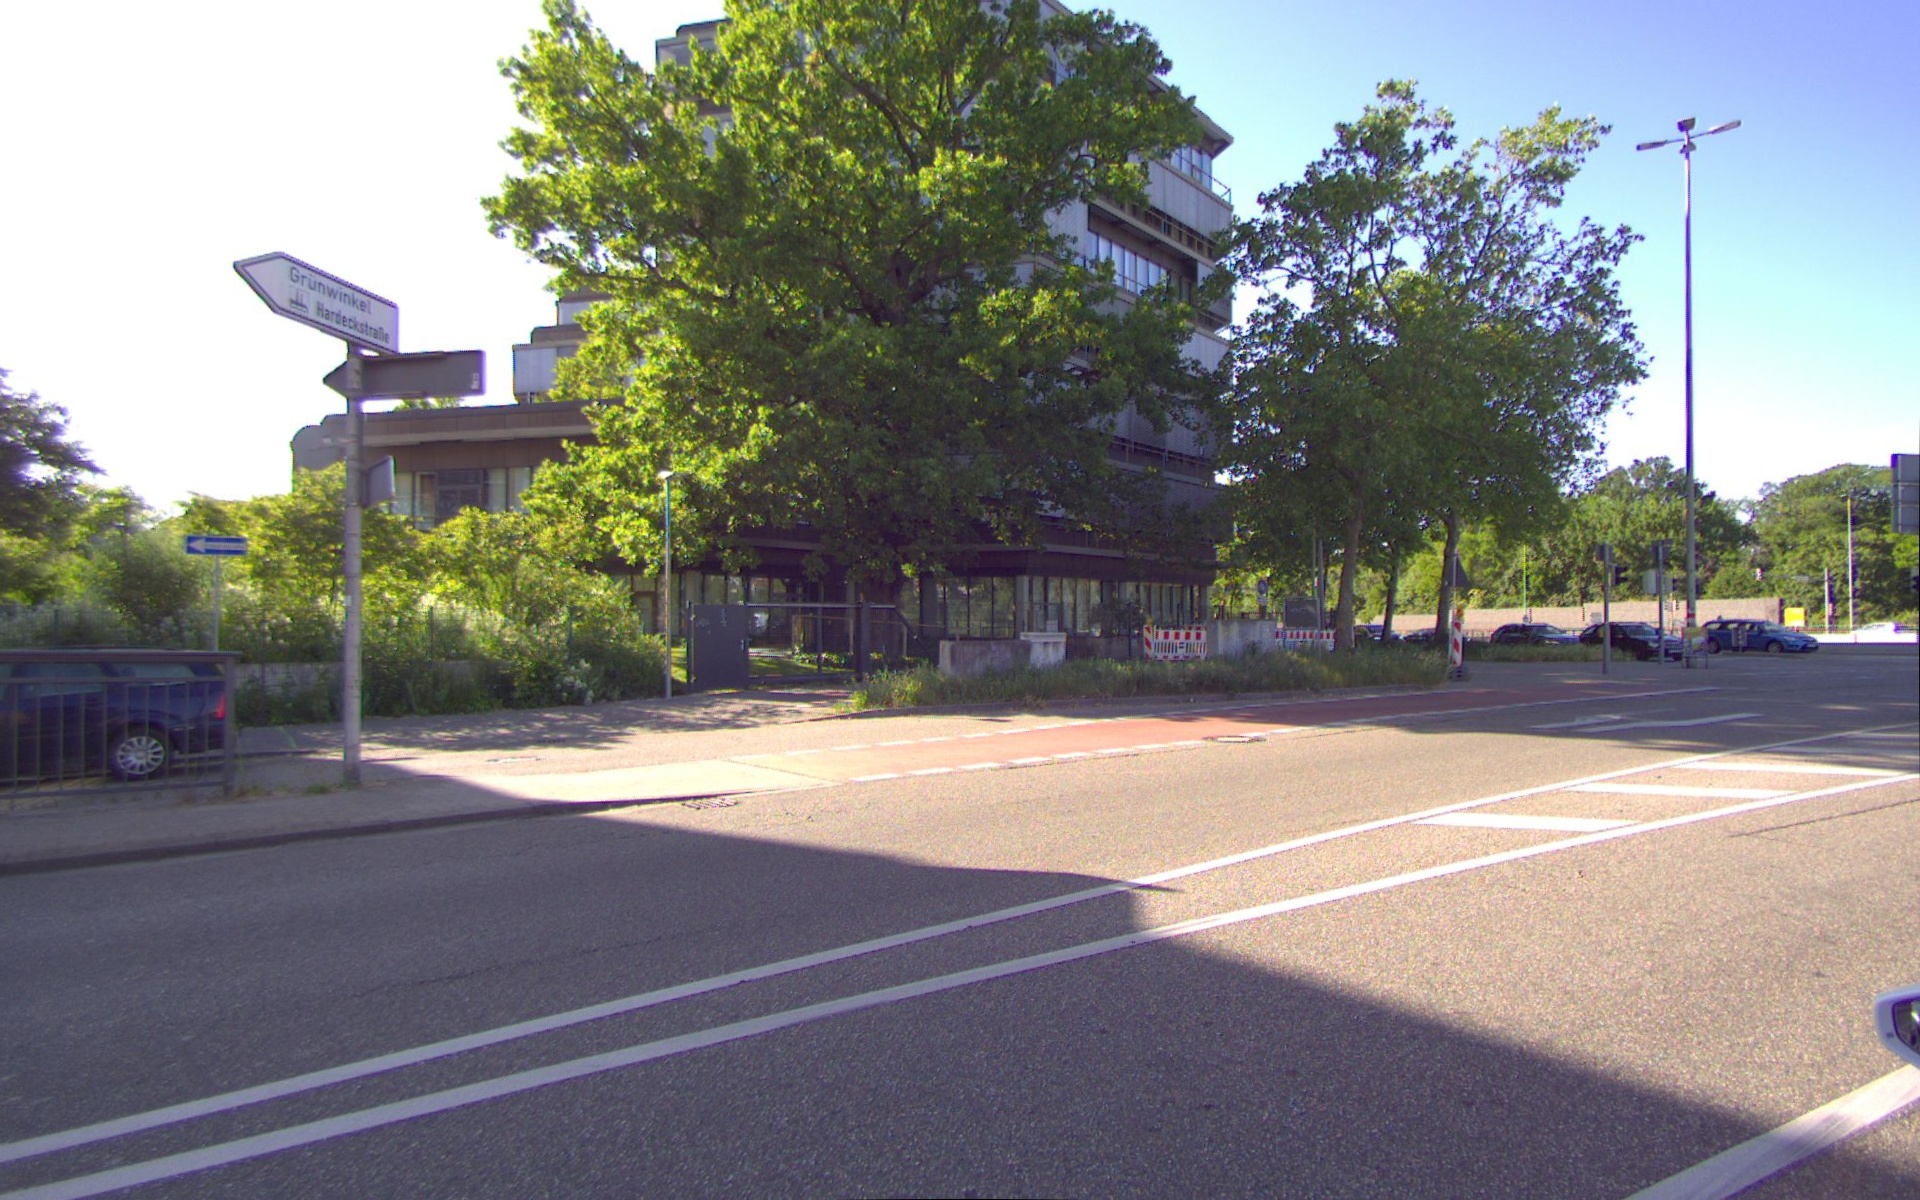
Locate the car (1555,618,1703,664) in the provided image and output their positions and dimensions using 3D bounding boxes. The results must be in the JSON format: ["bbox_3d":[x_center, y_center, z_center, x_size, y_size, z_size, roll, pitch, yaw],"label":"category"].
[{"bbox_3d":[25.791,1.541,38.978,1.918,1.643,4.773,0,-1,-13],"label":"car"}]

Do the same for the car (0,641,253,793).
[{"bbox_3d":[-10.642,1.325,11.296,4.339,1.528,1.642,-1,-3,-38],"label":"car"}]

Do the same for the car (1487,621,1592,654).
[{"bbox_3d":[26.072,1.644,45.385,1.844,1.376,4.507,0,-1,-4],"label":"car"}]

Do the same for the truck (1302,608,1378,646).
[{"bbox_3d":[25.058,1.777,66.675,2.121,2.391,7.515,0,-1,-1],"label":"truck"}]

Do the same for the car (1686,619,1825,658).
[{"bbox_3d":[34.311,1.623,43.501,1.919,1.561,4.443,0,-1,-16],"label":"car"}]
